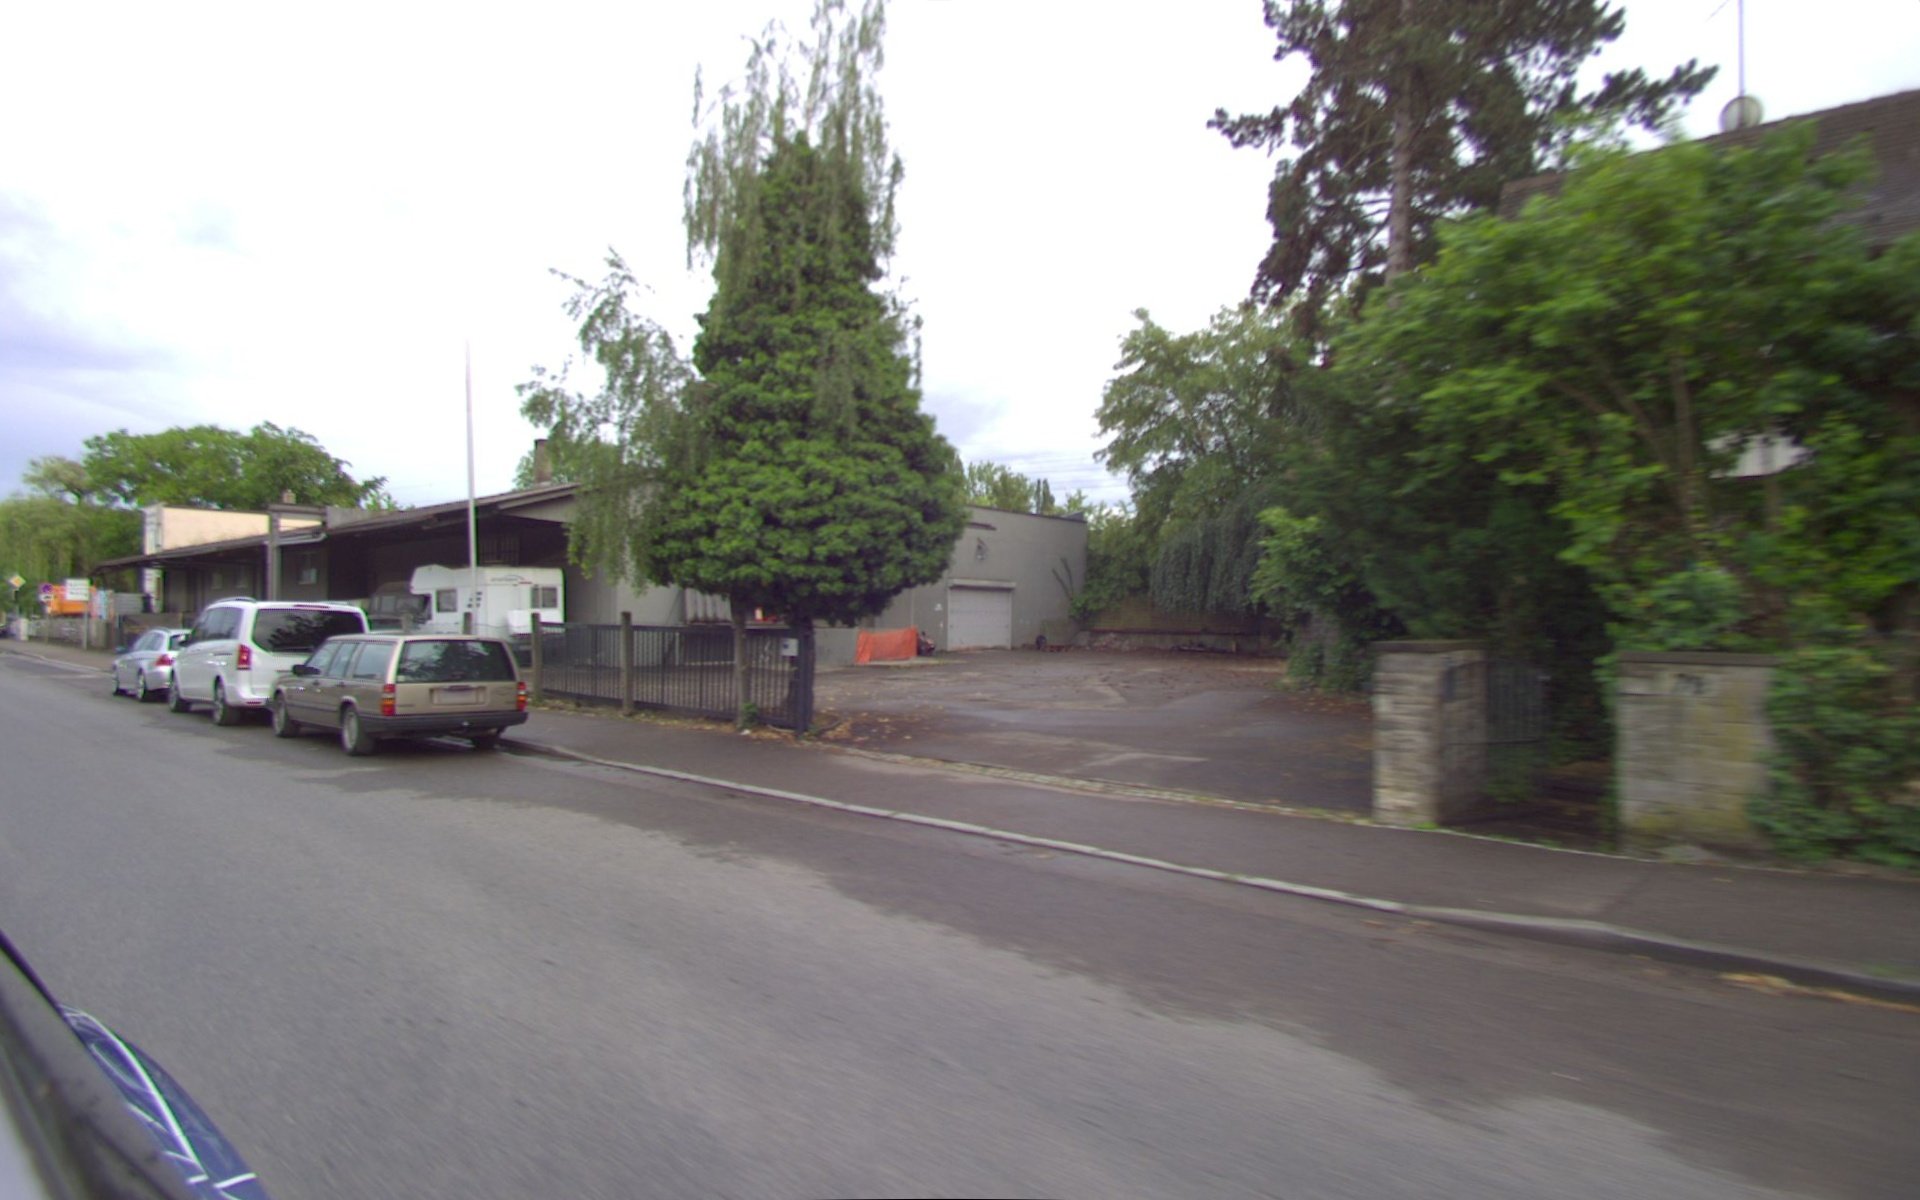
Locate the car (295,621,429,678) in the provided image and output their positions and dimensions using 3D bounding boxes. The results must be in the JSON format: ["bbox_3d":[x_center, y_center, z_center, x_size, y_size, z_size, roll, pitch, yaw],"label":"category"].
[{"bbox_3d":[-16.868,1.327,28.452,4.786,1.451,1.810,-1,-1,41],"label":"car"}]

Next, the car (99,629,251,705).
[{"bbox_3d":[-16.261,1.316,20.876,4.706,1.375,1.620,-1,-3,42],"label":"car"}]

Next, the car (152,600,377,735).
[{"bbox_3d":[-11.653,1.027,16.799,5.209,1.906,1.873,-1,-3,42],"label":"car"}]

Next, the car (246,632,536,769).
[{"bbox_3d":[-7.594,1.168,13.261,4.980,1.438,1.797,-1,-3,42],"label":"car"}]

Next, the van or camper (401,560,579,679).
[{"bbox_3d":[-13.457,0.534,28.770,6.147,3.058,2.279,-1,-1,41],"label":"van or camper"}]

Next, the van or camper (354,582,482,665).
[{"bbox_3d":[-17.793,0.730,33.091,5.195,2.510,1.973,-1,-1,41],"label":"van or camper"}]

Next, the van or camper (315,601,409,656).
[{"bbox_3d":[-22.535,1.036,38.074,4.374,1.950,1.901,-1,-1,44],"label":"van or camper"}]
